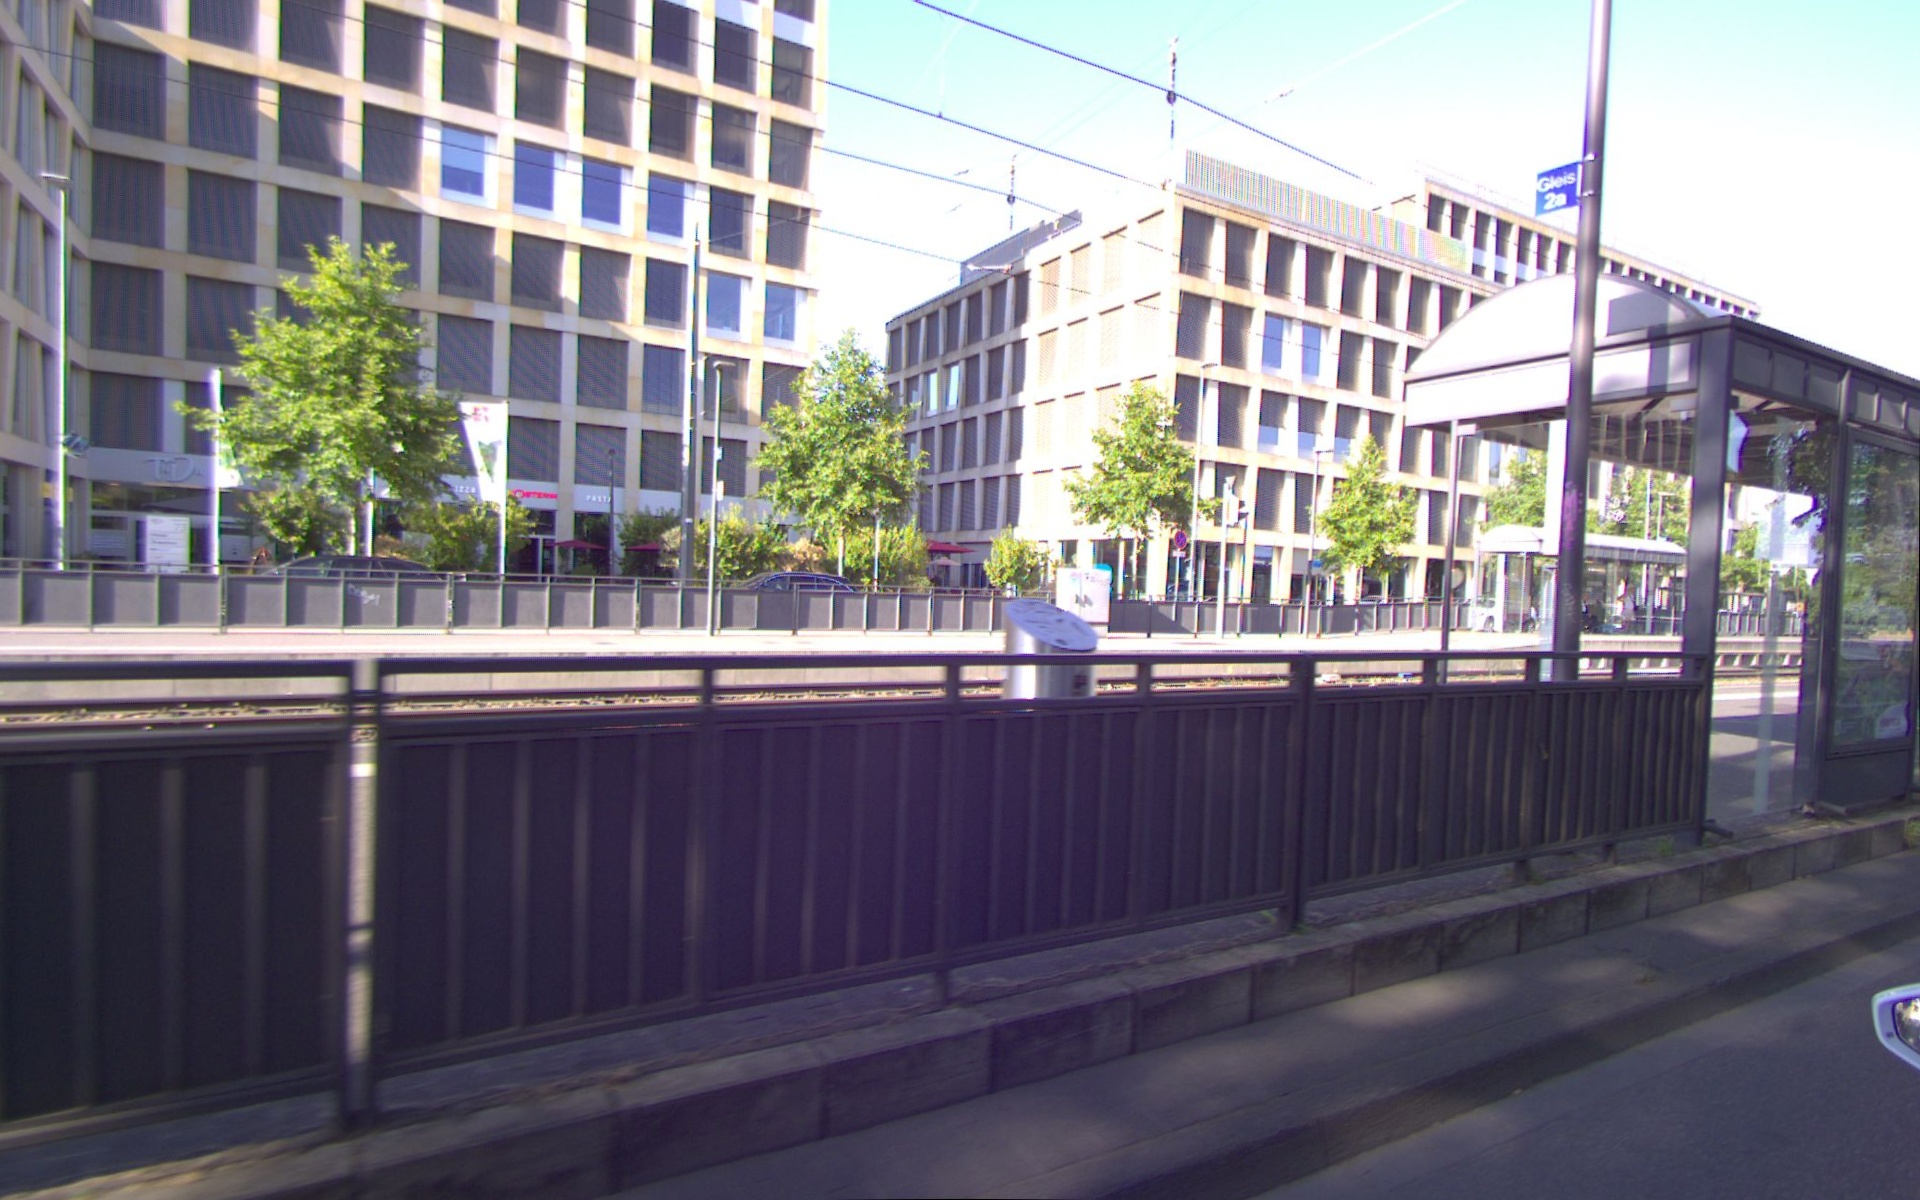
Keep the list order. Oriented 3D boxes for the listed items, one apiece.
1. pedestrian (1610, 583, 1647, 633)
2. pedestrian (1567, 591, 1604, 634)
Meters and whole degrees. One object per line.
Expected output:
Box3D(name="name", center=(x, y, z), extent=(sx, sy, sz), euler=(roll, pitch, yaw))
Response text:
Box3D(name="pedestrian", center=(21.252, 0.253, 31.955), extent=(0.714, 1.548, 0.613), euler=(2, 2, -21))
Box3D(name="pedestrian", center=(19.064, 0.388, 30.604), extent=(0.715, 1.277, 0.612), euler=(2, 2, -26))
